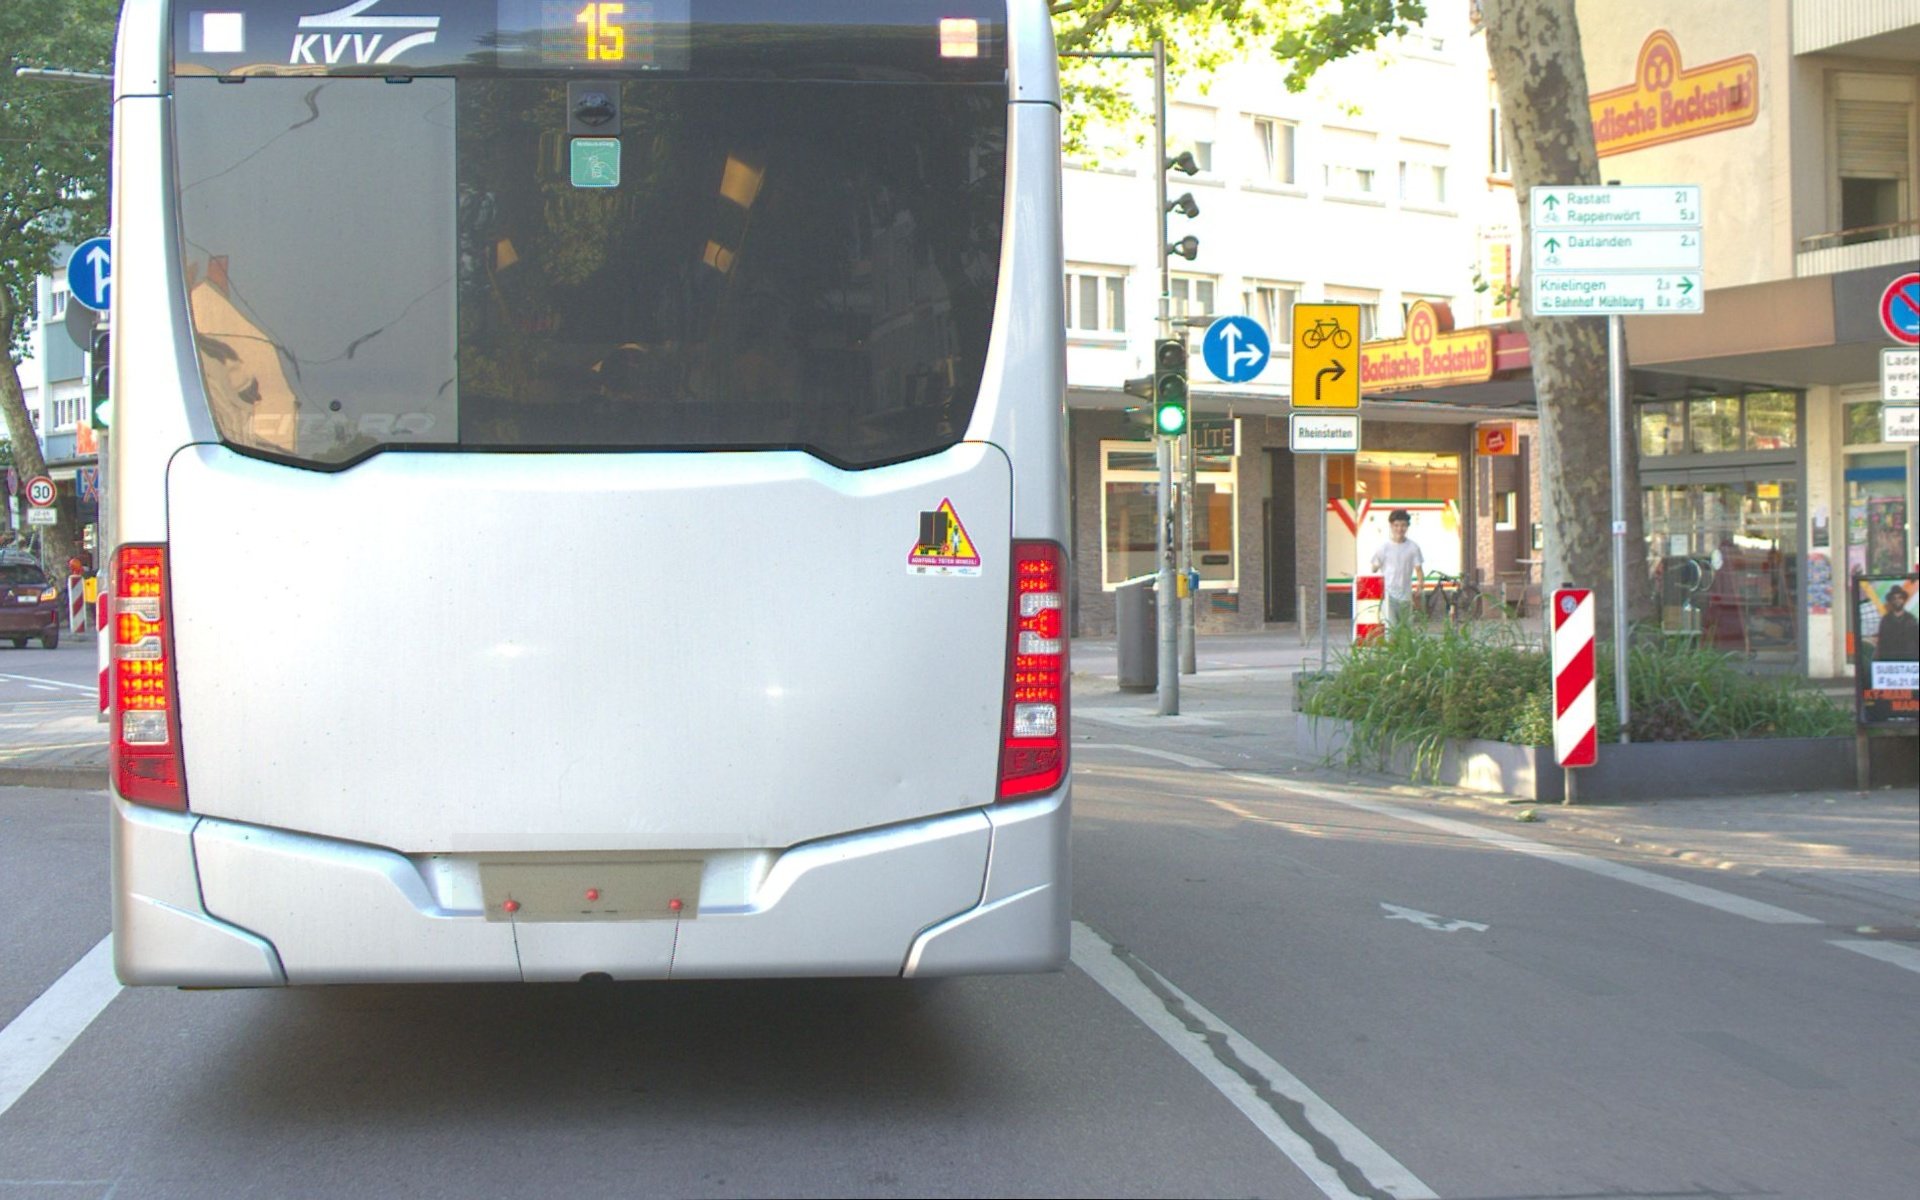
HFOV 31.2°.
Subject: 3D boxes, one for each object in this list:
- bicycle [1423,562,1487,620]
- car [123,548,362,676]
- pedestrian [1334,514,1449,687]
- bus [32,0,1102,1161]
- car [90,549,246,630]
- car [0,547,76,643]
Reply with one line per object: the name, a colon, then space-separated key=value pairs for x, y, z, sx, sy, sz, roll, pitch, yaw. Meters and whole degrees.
bicycle: x=9.029 y=-0.167 z=62.700 sx=0.294 sy=1.037 sz=1.714 roll=-2 pitch=-1 yaw=38
car: x=-8.727 y=0.108 z=41.578 sx=1.756 sy=1.459 sz=4.000 roll=-1 pitch=1 yaw=-28
pedestrian: x=4.376 y=-0.007 z=34.915 sx=0.835 sy=1.706 sz=0.794 roll=-3 pitch=2 yaw=-21
bus: x=-1.392 y=-0.205 z=13.741 sx=2.657 sy=3.088 sz=10.217 roll=0 pitch=1 yaw=-5
car: x=-15.138 y=-0.223 z=65.658 sx=1.662 sy=1.390 sz=3.412 roll=-5 pitch=3 yaw=-35
car: x=-15.495 y=-0.101 z=54.674 sx=1.756 sy=1.459 sz=4.000 roll=-1 pitch=1 yaw=-30
